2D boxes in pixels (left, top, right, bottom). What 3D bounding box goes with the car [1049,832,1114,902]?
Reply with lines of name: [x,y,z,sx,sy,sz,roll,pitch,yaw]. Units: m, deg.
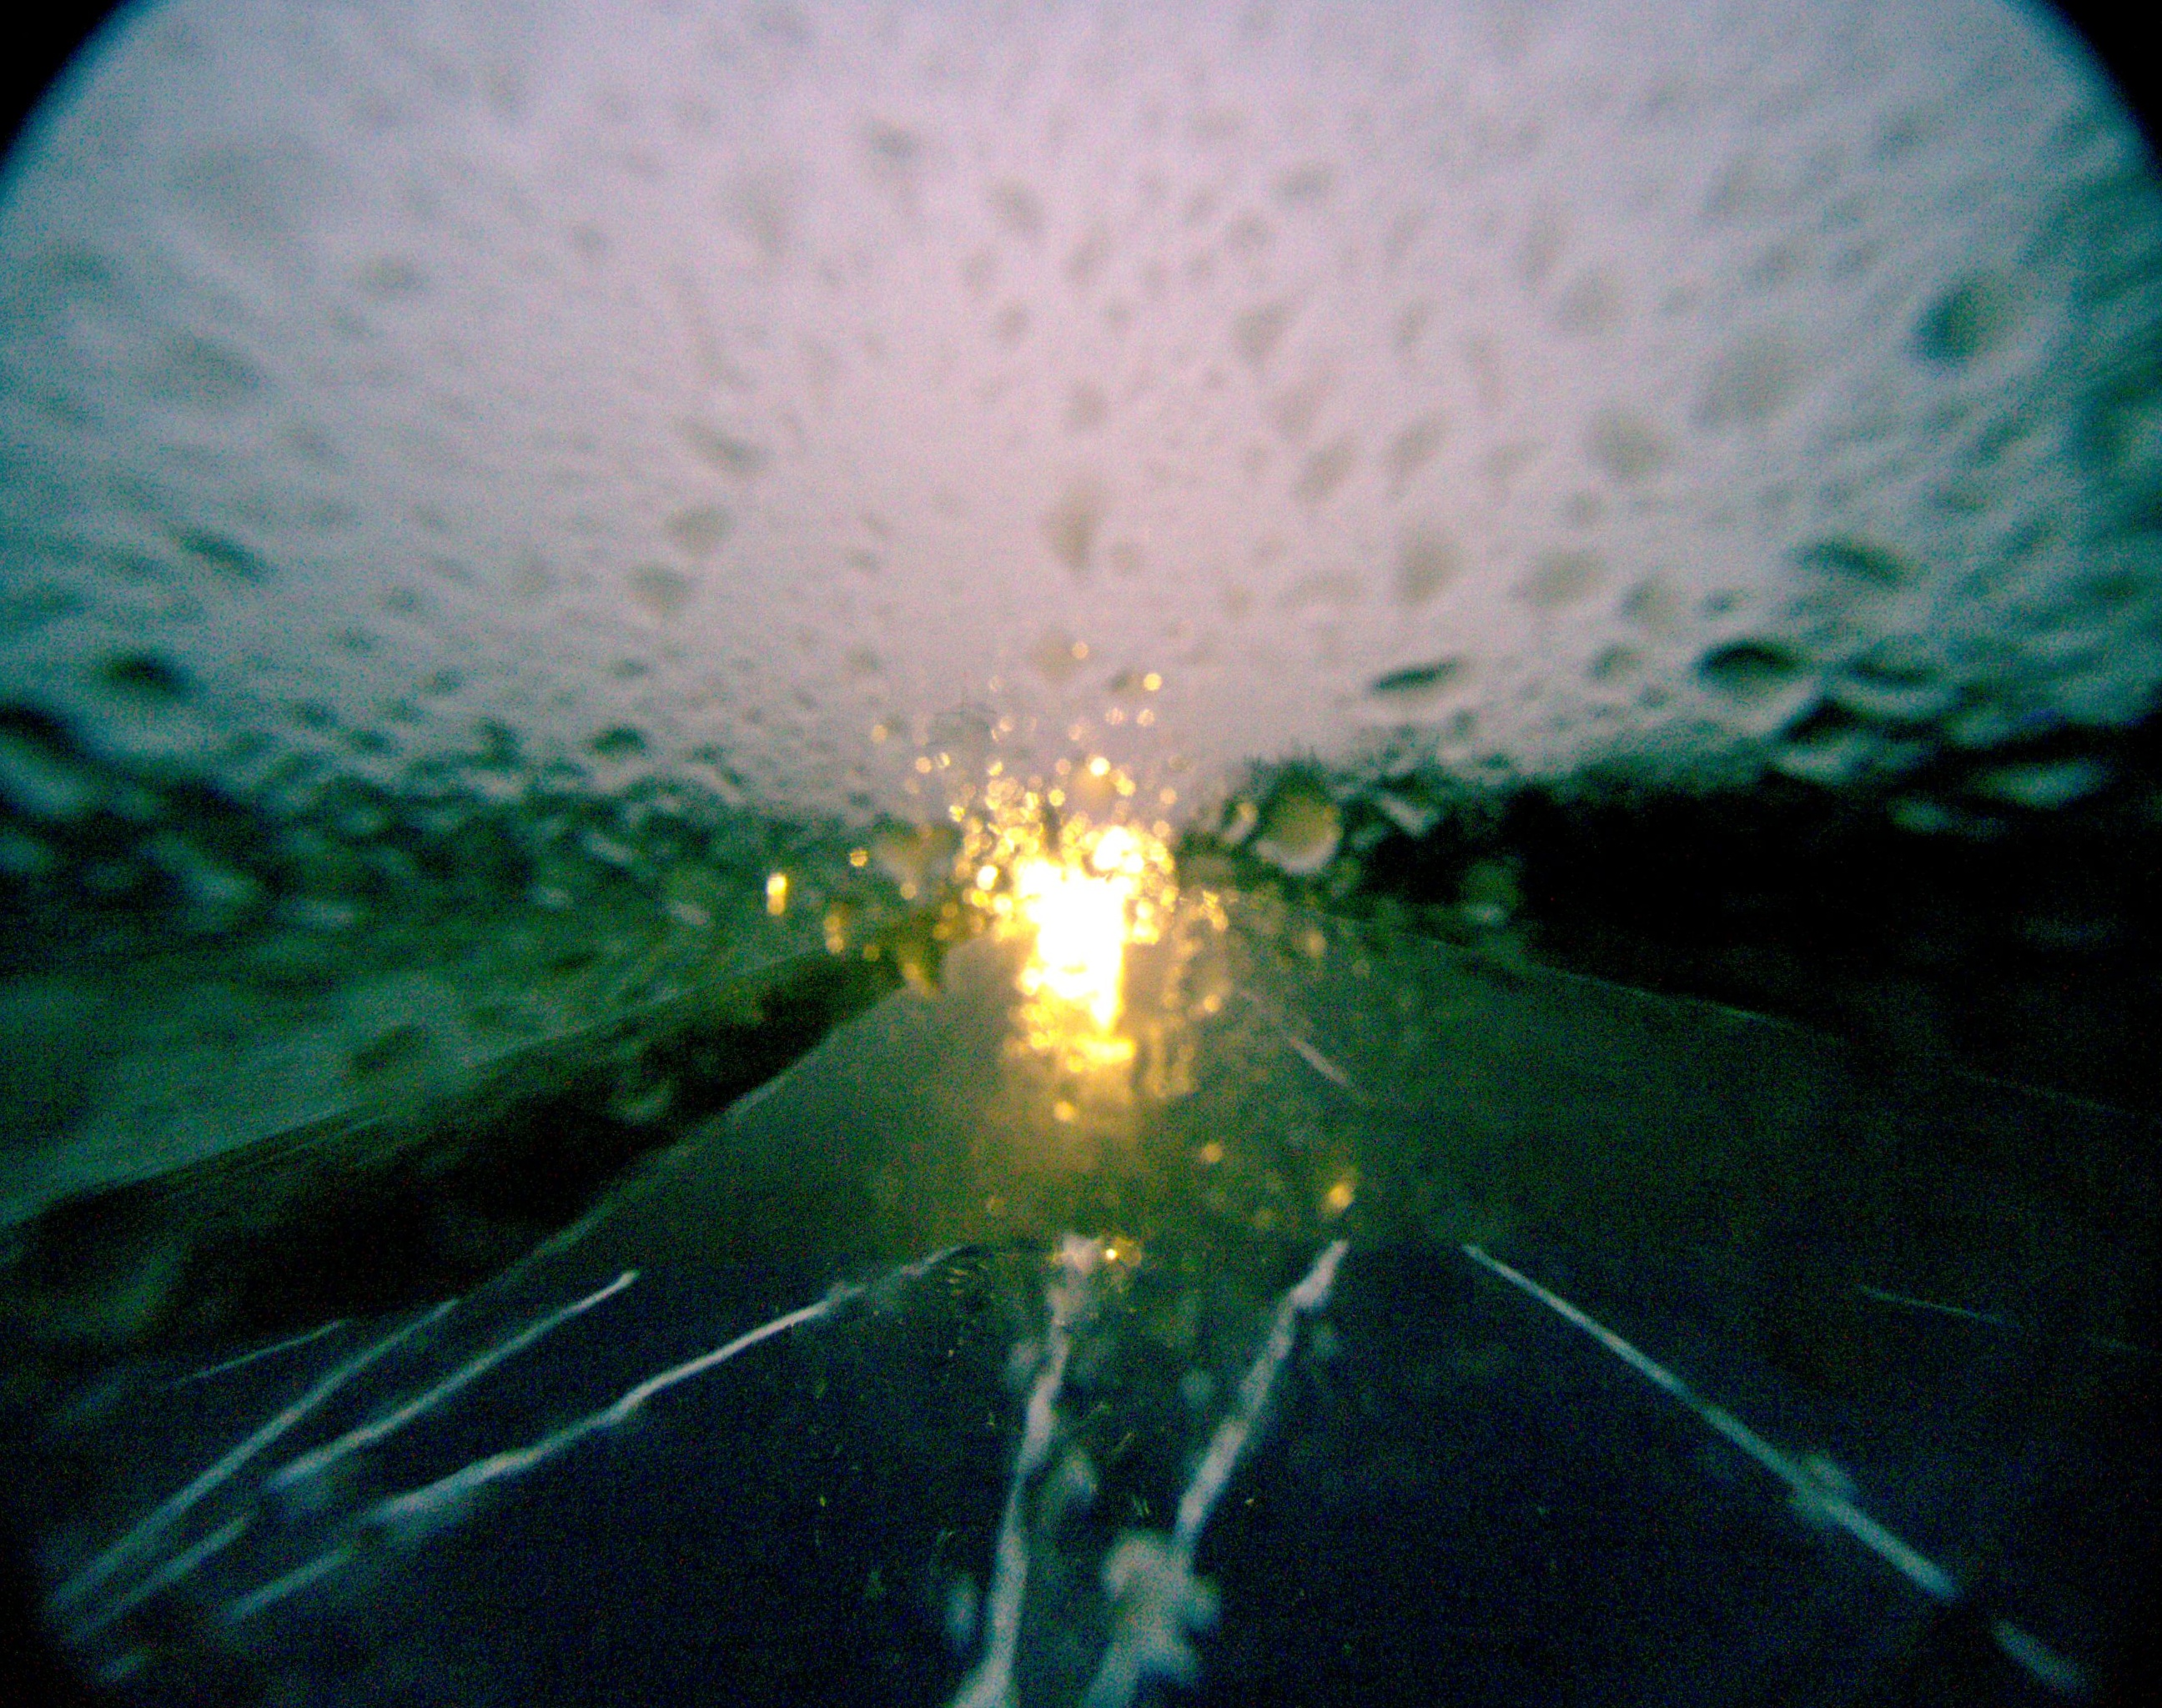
car: [0.106,0.401,26.929,1.952,2.195,4.535,-2,1,3]
